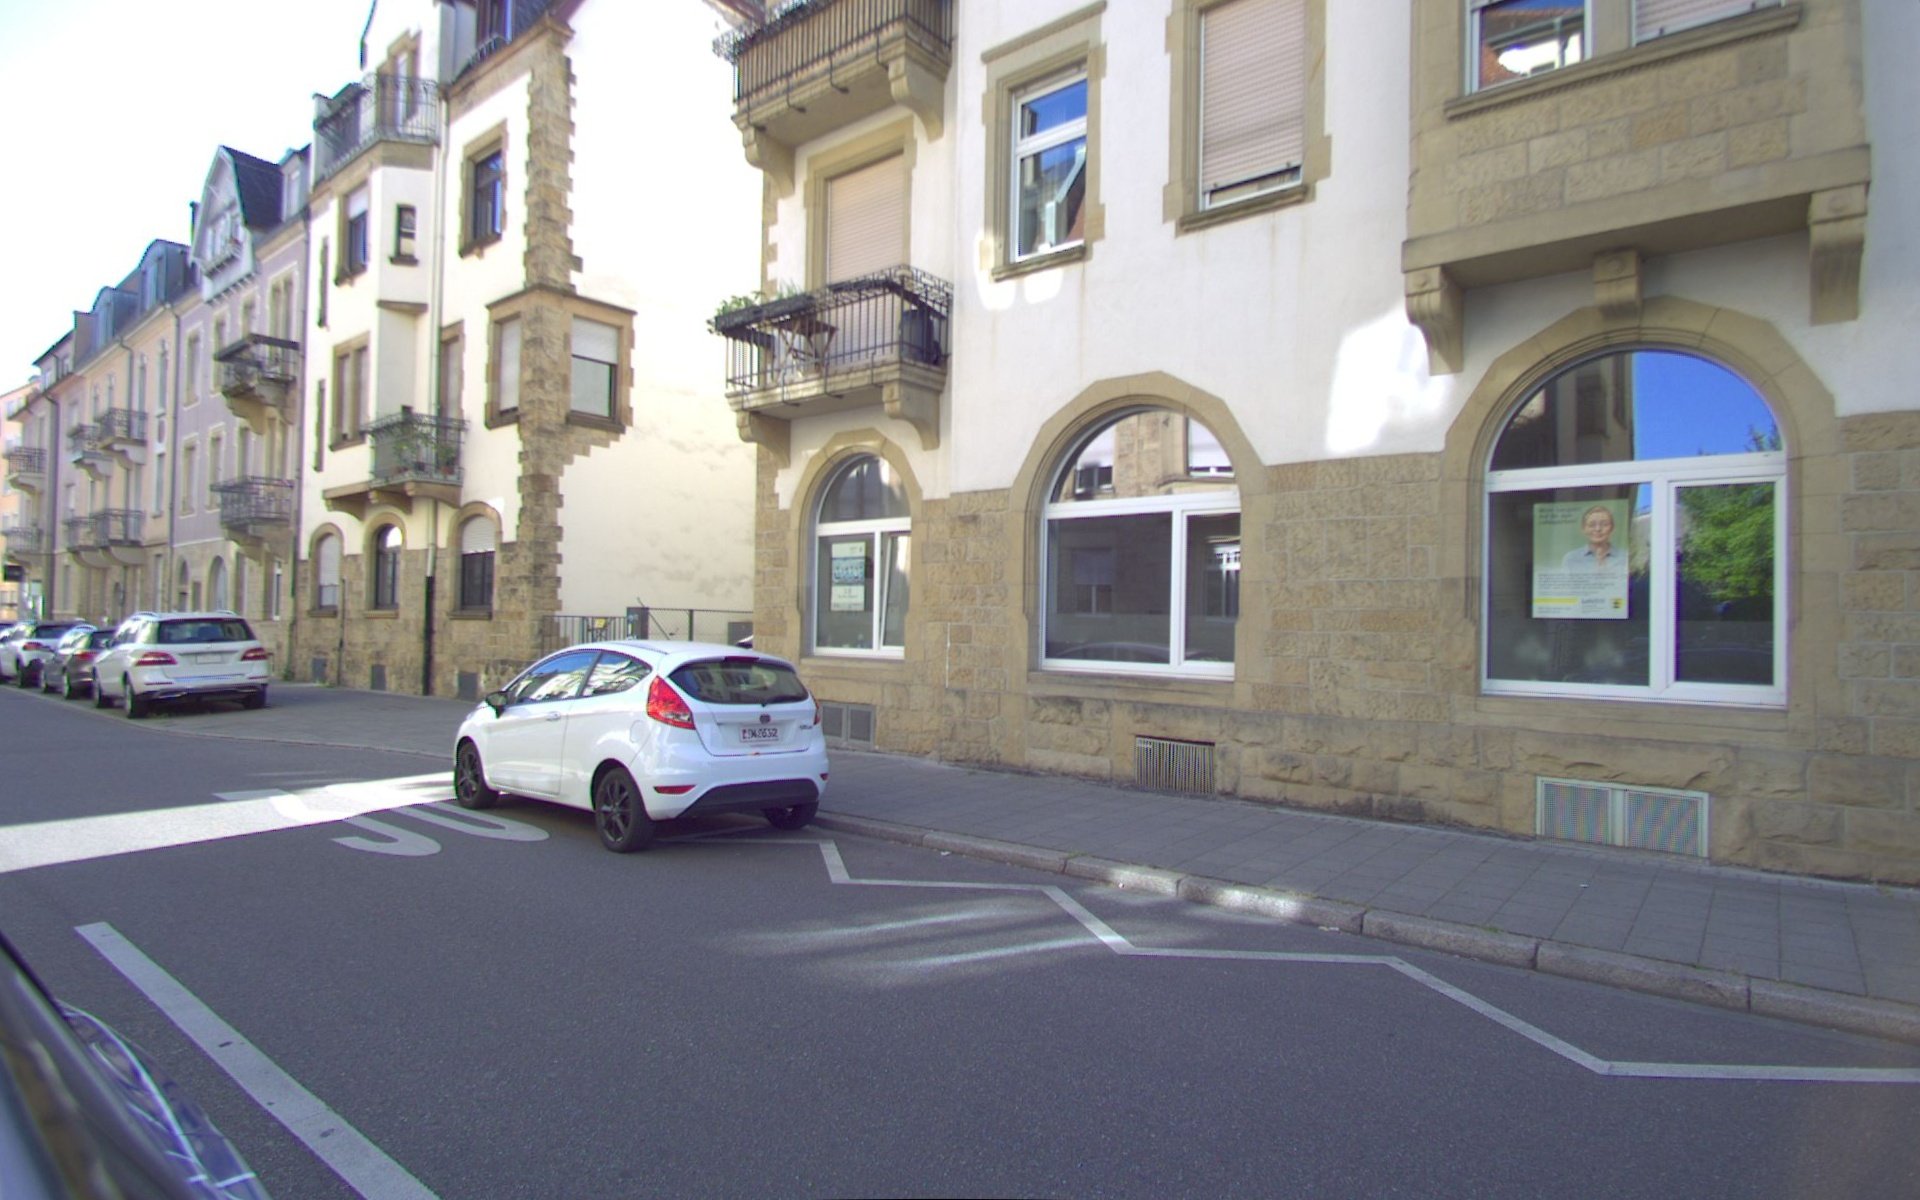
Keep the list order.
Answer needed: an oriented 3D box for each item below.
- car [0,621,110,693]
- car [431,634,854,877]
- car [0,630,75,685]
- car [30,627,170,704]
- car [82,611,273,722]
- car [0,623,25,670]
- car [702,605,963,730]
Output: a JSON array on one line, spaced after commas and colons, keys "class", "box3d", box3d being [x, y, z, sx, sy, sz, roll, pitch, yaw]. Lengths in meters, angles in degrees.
[{"class": "car", "box3d": [-22.861, 1.374, 25.274, 4.015, 1.595, 1.698, -1, 1, 38]}, {"class": "car", "box3d": [-2.711, 1.037, 8.204, 3.734, 1.475, 1.616, -1, -2, 43]}, {"class": "car", "box3d": [-26.869, 1.606, 28.862, 3.658, 1.404, 1.658, -1, 1, 36]}, {"class": "car", "box3d": [-18.595, 1.336, 21.820, 4.275, 1.498, 1.558, -1, -1, 39]}, {"class": "car", "box3d": [-14.119, 1.094, 18.158, 4.724, 1.735, 1.872, -1, -2, 42]}, {"class": "car", "box3d": [-33.063, 1.549, 34.125, 3.719, 1.550, 1.698, -1, -2, 38]}, {"class": "car", "box3d": [-1.939, 1.038, 16.324, 1.908, 1.741, 3.928, -2, -3, 40]}]
